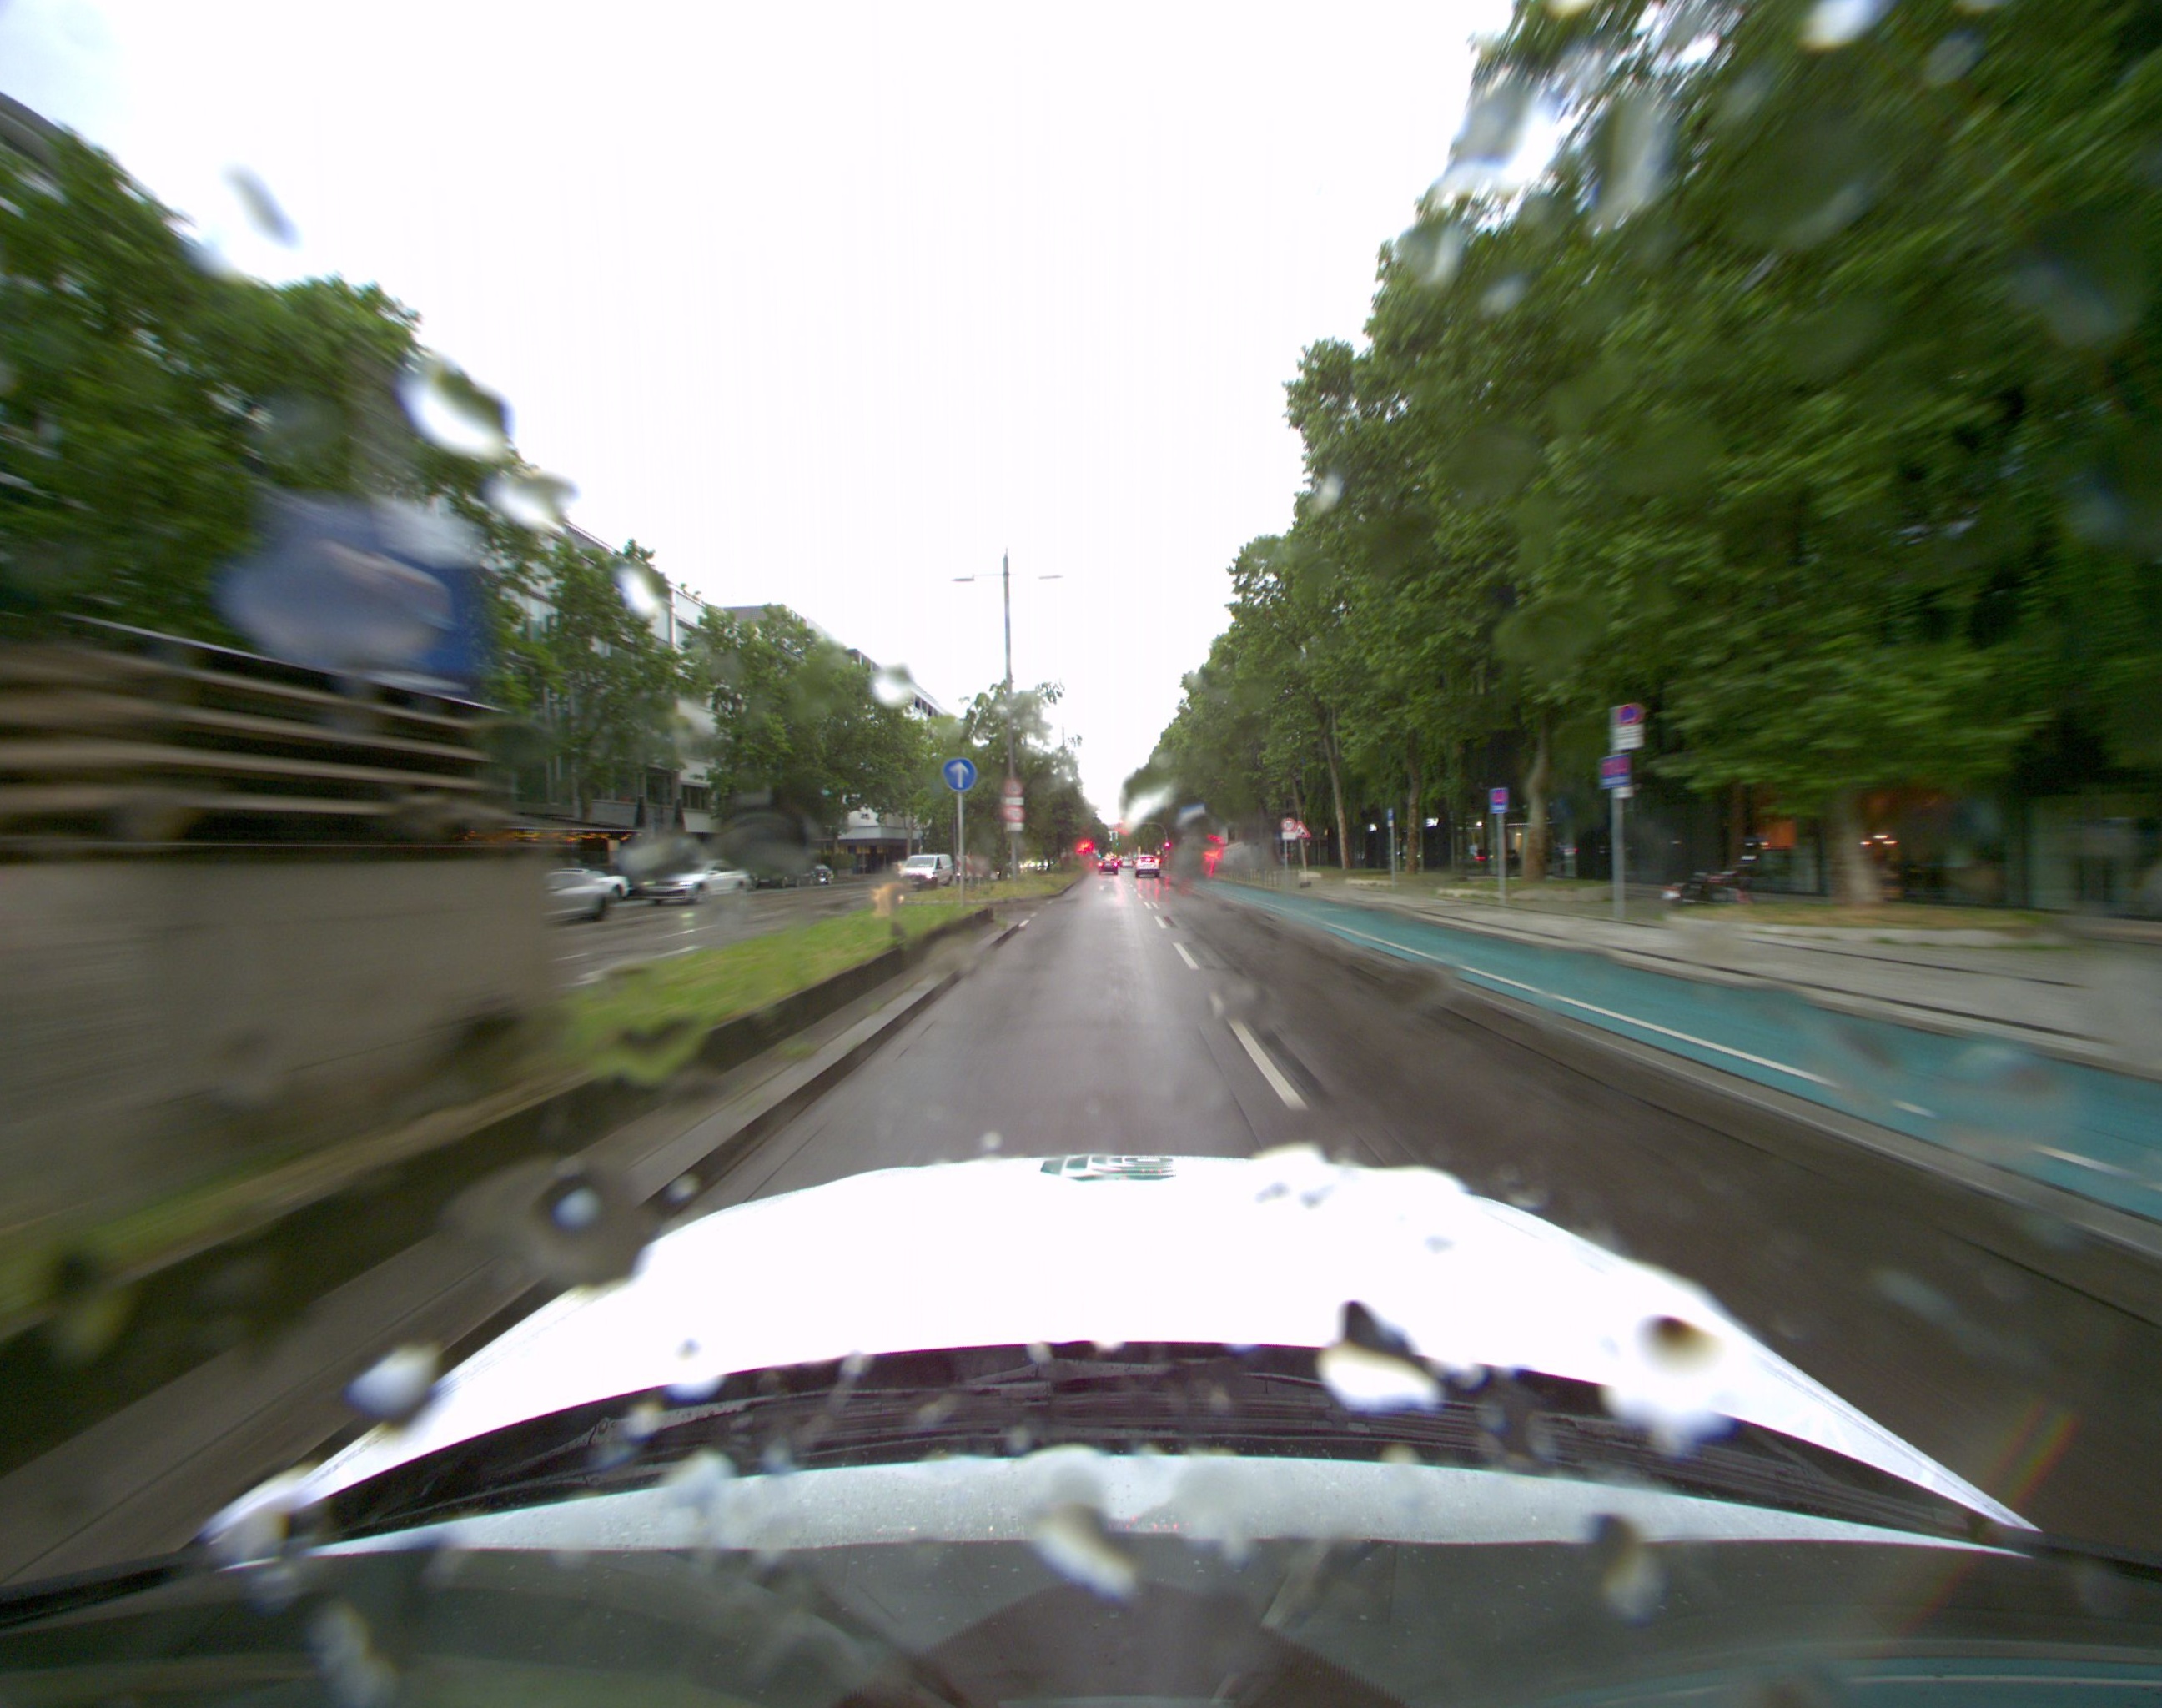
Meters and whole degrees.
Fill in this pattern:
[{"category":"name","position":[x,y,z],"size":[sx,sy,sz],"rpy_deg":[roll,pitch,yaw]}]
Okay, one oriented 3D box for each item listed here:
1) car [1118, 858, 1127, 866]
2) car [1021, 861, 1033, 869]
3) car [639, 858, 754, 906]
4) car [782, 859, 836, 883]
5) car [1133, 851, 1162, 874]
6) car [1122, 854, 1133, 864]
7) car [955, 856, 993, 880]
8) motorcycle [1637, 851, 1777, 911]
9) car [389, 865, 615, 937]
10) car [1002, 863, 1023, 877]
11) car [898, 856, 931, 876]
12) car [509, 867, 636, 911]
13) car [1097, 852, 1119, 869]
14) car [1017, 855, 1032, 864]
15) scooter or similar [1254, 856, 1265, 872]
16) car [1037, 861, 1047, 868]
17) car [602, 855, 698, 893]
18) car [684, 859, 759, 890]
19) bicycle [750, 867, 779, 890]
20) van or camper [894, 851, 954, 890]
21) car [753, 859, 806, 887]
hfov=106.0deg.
[{"category":"car","position":[7.348,1.413,144.059],"size":[1.614,1.374,4.002],"rpy_deg":[-1,0,2]},{"category":"car","position":[-9.367,1.906,141.042],"size":[1.608,1.394,4.186],"rpy_deg":[-1,0,2]},{"category":"car","position":[-14.370,1.001,30.757],"size":[1.751,1.614,4.557],"rpy_deg":[0,0,7]},{"category":"car","position":[-17.426,1.075,52.410],"size":[1.687,1.409,4.906],"rpy_deg":[-1,0,2]},{"category":"car","position":[5.121,0.601,63.186],"size":[1.986,1.655,4.890],"rpy_deg":[-1,0,2]},{"category":"car","position":[7.509,0.821,132.259],"size":[1.614,1.666,4.001],"rpy_deg":[-2,0,2]},{"category":"car","position":[-7.195,0.931,55.228],"size":[1.836,1.482,4.398],"rpy_deg":[0,1,2]},{"category":"motorcycle","position":[13.814,0.581,18.039],"size":[2.299,1.270,1.053],"rpy_deg":[0,0,0]},{"category":"car","position":[-13.659,1.026,19.692],"size":[1.961,1.409,4.954],"rpy_deg":[-1,0,-1]},{"category":"car","position":[-7.587,1.767,90.593],"size":[1.836,1.429,3.644],"rpy_deg":[-1,0,2]},{"category":"car","position":[-12.988,0.918,63.709],"size":[1.743,1.476,4.096],"rpy_deg":[-1,0,0]},{"category":"car","position":[-18.303,1.226,29.592],"size":[1.553,1.353,4.685],"rpy_deg":[0,0,2]},{"category":"car","position":[2.505,0.588,75.374],"size":[1.911,1.491,4.002],"rpy_deg":[-1,0,2]},{"category":"car","position":[-8.752,0.881,125.796],"size":[1.836,1.389,4.001],"rpy_deg":[-1,0,2]},{"category":"scooter or similar","position":[14.137,0.768,64.437],"size":[0.377,1.228,1.086],"rpy_deg":[-1,-1,38]},{"category":"car","position":[-7.826,2.136,163.016],"size":[1.608,1.394,3.599],"rpy_deg":[-1,0,2]},{"category":"car","position":[-18.287,0.801,34.777],"size":[1.830,1.508,4.002],"rpy_deg":[-1,0,2]},{"category":"car","position":[-18.037,1.000,41.060],"size":[1.687,1.409,4.458],"rpy_deg":[-1,0,2]},{"category":"bicycle","position":[-16.124,1.250,41.534],"size":[0.706,1.104,1.817],"rpy_deg":[-1,0,3]},{"category":"van or camper","position":[-8.282,0.819,43.455],"size":[1.986,1.913,5.253],"rpy_deg":[-1,0,2]},{"category":"car","position":[-17.445,1.066,47.272],"size":[1.687,1.468,3.461],"rpy_deg":[-1,0,2]}]
